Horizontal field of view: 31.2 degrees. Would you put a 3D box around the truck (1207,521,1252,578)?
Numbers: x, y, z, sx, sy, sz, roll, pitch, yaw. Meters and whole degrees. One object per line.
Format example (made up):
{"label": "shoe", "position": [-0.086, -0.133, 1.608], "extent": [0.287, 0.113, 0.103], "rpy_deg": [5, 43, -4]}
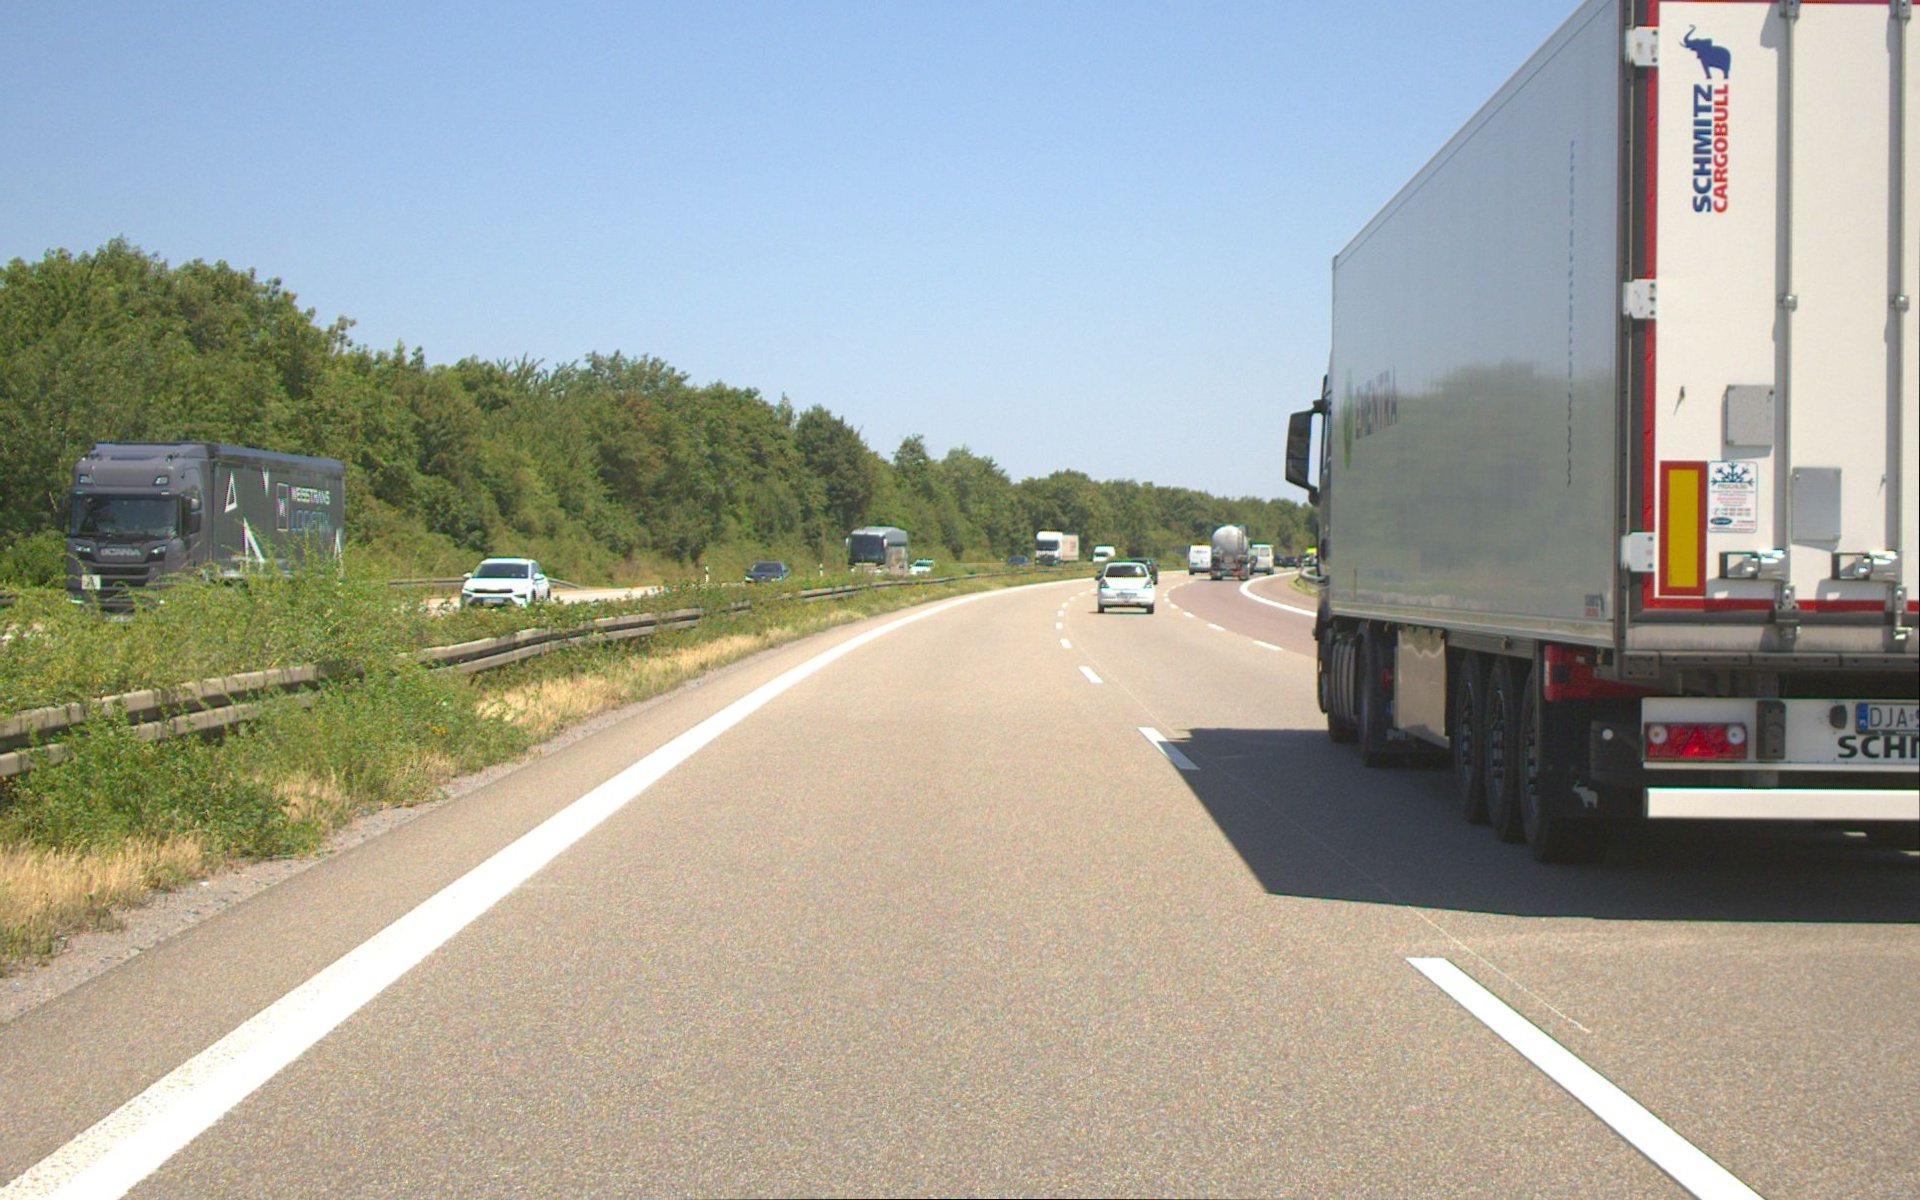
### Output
{"label": "truck", "position": [19.430, -3.590, 247.857], "extent": [2.740, 4.038, 10.451], "rpy_deg": [0, 0, 7]}

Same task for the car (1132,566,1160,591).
{"label": "car", "position": [11.196, -1.295, 207.167], "extent": [1.627, 1.474, 4.000], "rpy_deg": [0, 0, 3]}

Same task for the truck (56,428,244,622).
{"label": "truck", "position": [-16.741, -1.528, 71.266], "extent": [2.893, 3.902, 4.000], "rpy_deg": [0, 1, 1]}

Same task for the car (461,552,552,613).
{"label": "car", "position": [-11.952, -0.481, 90.755], "extent": [1.842, 1.581, 4.488], "rpy_deg": [0, 1, 0]}

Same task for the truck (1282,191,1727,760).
{"label": "truck", "position": [4.313, -0.965, 28.264], "extent": [2.908, 4.241, 4.975], "rpy_deg": [1, 1, 1]}

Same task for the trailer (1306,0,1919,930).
{"label": "trailer", "position": [4.192, -1.061, 21.047], "extent": [2.901, 4.641, 13.986], "rpy_deg": [1, 1, 1]}

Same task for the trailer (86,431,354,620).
{"label": "trailer", "position": [-16.612, -1.640, 78.465], "extent": [2.880, 3.934, 14.058], "rpy_deg": [0, 1, 1]}

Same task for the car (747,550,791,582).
{"label": "car", "position": [-9.085, -1.622, 163.848], "extent": [1.782, 1.512, 4.501], "rpy_deg": [0, 1, 1]}

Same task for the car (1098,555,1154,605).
{"label": "car", "position": [5.009, -0.592, 103.512], "extent": [1.627, 1.474, 4.000], "rpy_deg": [0, 0, 4]}

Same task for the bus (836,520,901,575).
{"label": "bus", "position": [-6.383, -3.667, 242.186], "extent": [2.742, 3.695, 12.997], "rpy_deg": [1, 1, 6]}
